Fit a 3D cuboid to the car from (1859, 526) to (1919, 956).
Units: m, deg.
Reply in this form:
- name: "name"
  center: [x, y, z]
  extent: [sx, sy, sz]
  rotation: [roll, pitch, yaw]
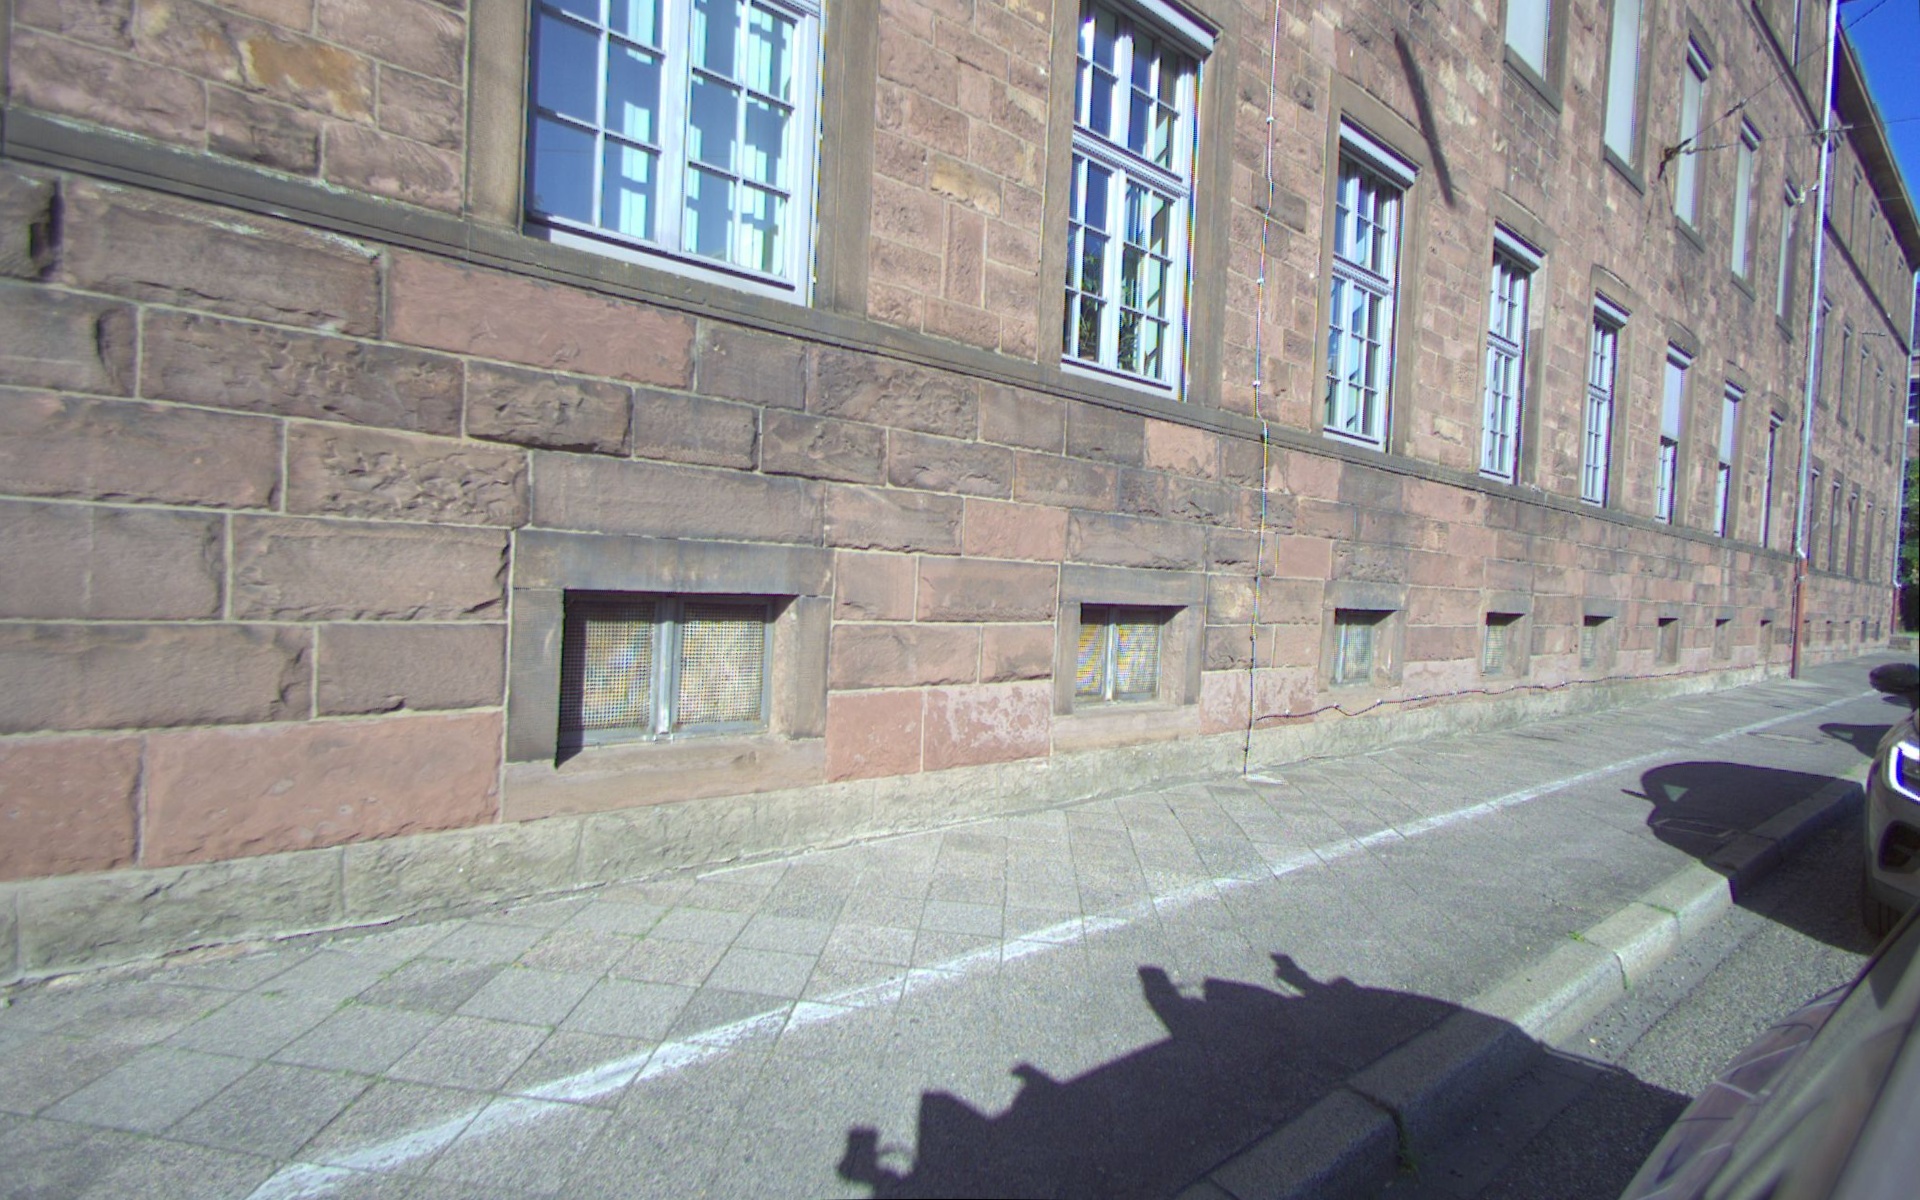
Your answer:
- name: "car"
  center: [5.495, 0.571, 4.569]
  extent: [3.735, 1.624, 1.793]
  rotation: [1, 1, -43]
